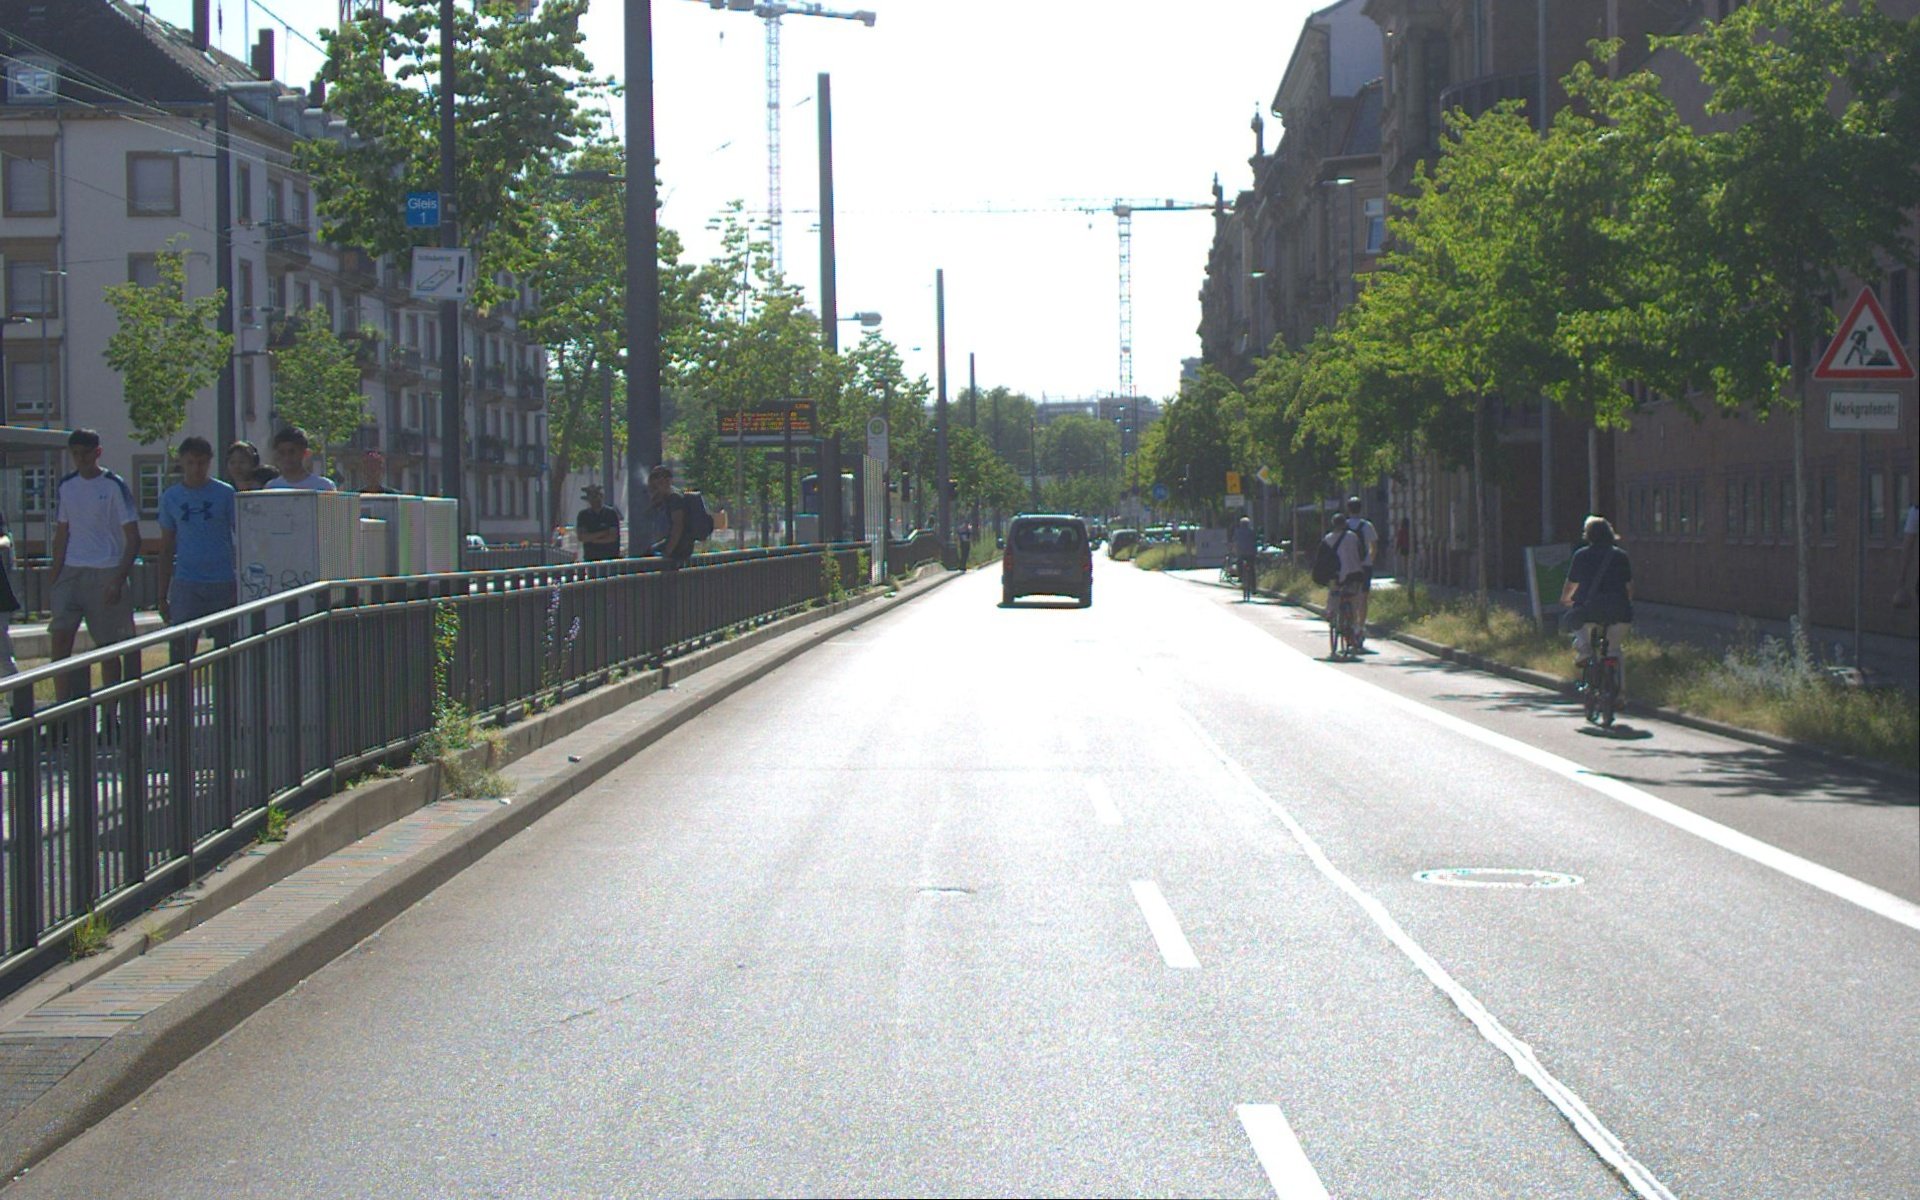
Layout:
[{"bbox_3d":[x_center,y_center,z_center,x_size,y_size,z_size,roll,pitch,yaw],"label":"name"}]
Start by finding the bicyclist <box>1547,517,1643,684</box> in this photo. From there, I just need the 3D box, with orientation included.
[{"bbox_3d":[5.170,-0.005,28.019,0.592,1.331,0.933,-1,1,-1],"label":"bicyclist"}]

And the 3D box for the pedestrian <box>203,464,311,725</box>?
[{"bbox_3d":[-4.259,-0.039,20.852,0.518,1.546,0.601,-1,1,-2],"label":"pedestrian"}]

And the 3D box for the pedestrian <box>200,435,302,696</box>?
[{"bbox_3d":[-4.905,-0.242,23.801,0.538,1.767,0.633,-1,1,-1],"label":"pedestrian"}]

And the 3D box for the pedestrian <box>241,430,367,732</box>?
[{"bbox_3d":[-3.672,-0.113,19.284,0.538,1.649,0.706,-1,1,-1],"label":"pedestrian"}]

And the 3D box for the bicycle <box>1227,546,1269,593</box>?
[{"bbox_3d":[6.269,-0.680,74.948,0.667,0.982,2.586,-1,1,-1],"label":"bicycle"}]

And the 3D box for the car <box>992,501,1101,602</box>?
[{"bbox_3d":[1.703,-0.991,69.077,1.993,1.941,4.000,-1,1,-1],"label":"car"}]

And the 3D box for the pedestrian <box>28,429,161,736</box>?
[{"bbox_3d":[-4.765,-0.102,18.961,0.510,1.649,0.762,-1,1,-1],"label":"pedestrian"}]

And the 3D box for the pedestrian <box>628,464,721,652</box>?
[{"bbox_3d":[-2.675,-0.400,32.193,0.716,1.729,0.602,-2,1,-17],"label":"pedestrian"}]

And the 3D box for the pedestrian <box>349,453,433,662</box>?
[{"bbox_3d":[-4.575,-0.342,27.650,0.538,1.649,0.633,-1,1,-1],"label":"pedestrian"}]

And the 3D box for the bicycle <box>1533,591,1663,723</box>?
[{"bbox_3d":[5.179,0.445,28.031,0.603,0.982,2.315,-1,1,-1],"label":"bicycle"}]

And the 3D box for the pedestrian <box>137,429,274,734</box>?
[{"bbox_3d":[-4.196,-0.109,19.158,0.538,1.649,0.896,-1,1,-1],"label":"pedestrian"}]

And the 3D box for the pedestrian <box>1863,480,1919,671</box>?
[{"bbox_3d":[8.812,-0.235,31.326,0.880,1.711,0.931,-1,1,-1],"label":"pedestrian"}]

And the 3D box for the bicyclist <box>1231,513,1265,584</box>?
[{"bbox_3d":[6.268,-1.127,74.892,0.667,1.521,0.707,-1,1,-1],"label":"bicyclist"}]

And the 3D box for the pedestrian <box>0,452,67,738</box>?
[{"bbox_3d":[-5.428,-0.034,19.235,0.600,1.561,0.914,-1,1,-1],"label":"pedestrian"}]

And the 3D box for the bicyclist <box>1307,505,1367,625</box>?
[{"bbox_3d":[4.816,-0.449,43.956,0.667,1.521,0.707,-1,1,-1],"label":"bicyclist"}]

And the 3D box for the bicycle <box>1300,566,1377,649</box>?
[{"bbox_3d":[4.828,0.082,43.993,0.667,0.982,2.586,-1,1,-1],"label":"bicycle"}]

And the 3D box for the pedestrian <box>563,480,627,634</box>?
[{"bbox_3d":[-3.984,-0.473,37.585,0.600,1.649,0.666,-1,1,-1],"label":"pedestrian"}]

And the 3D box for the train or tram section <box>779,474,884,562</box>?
[{"bbox_3d":[-4.556,-3.016,124.143,2.327,2.993,13.159,1,2,4],"label":"train or tram section"}]
